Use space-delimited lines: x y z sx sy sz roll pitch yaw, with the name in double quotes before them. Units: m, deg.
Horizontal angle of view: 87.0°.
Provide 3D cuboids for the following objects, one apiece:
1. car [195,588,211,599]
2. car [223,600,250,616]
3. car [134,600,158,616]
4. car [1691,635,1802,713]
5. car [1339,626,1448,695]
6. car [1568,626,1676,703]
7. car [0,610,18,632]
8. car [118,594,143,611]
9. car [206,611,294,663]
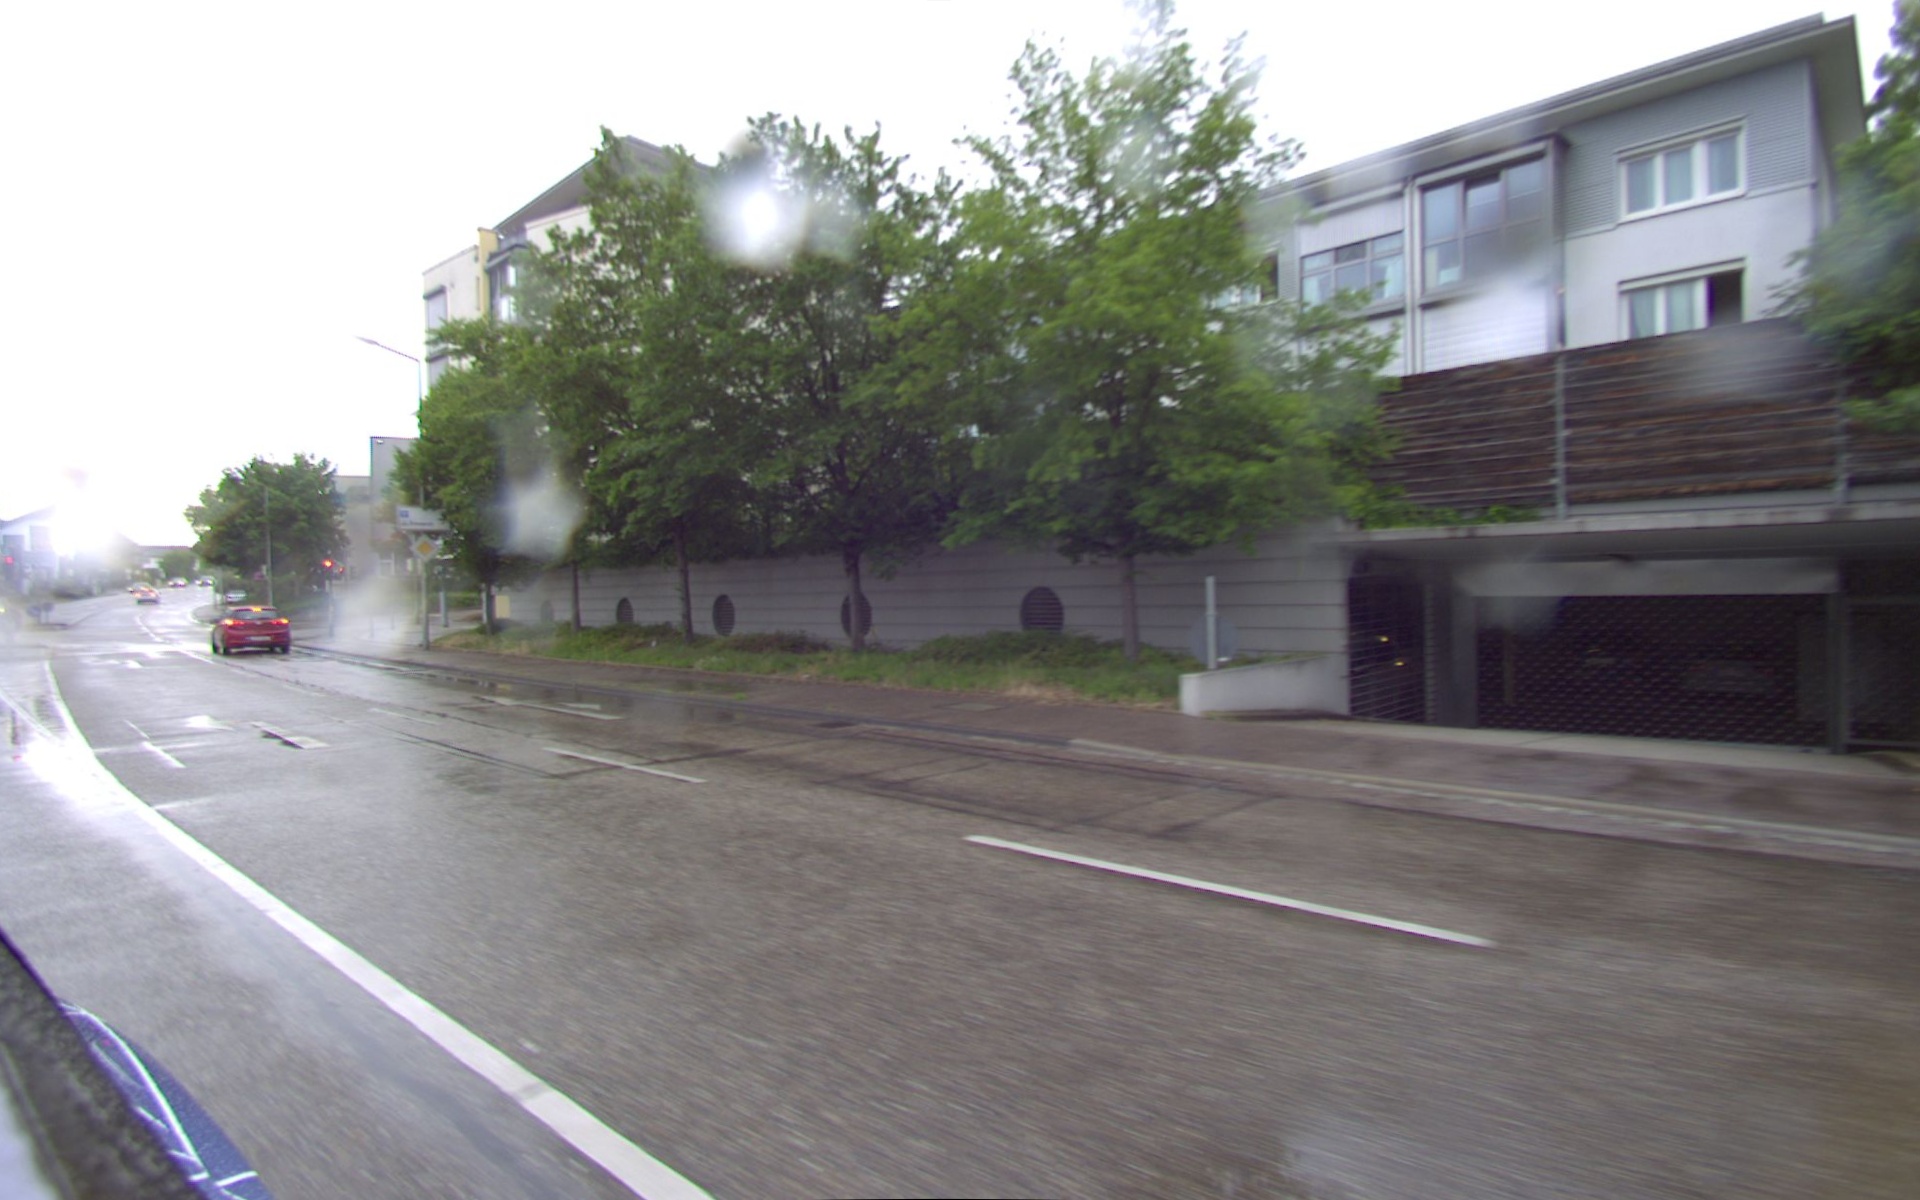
"car" -121.354 -1.075 162.231 1.800 1.700 4.011 -1 0 -33
"car" -72.927 0.798 102.062 1.708 1.489 4.034 -3 1 -28
"car" -85.372 0.813 106.141 1.667 1.566 3.916 -4 3 -36
"car" 16.767 1.504 21.530 1.622 1.408 3.312 -1 -1 42
"car" 11.447 1.529 26.618 1.622 1.600 3.406 -1 -1 42
"car" 15.585 1.447 23.759 1.622 1.600 3.312 -1 -1 42
"car" -71.151 1.575 74.703 1.869 1.556 4.030 -3 1 -36
"car" -109.694 0.294 133.808 1.967 2.028 4.011 -6 4 -33
"car" -22.434 1.136 31.926 1.754 1.518 4.109 2 -1 -42
